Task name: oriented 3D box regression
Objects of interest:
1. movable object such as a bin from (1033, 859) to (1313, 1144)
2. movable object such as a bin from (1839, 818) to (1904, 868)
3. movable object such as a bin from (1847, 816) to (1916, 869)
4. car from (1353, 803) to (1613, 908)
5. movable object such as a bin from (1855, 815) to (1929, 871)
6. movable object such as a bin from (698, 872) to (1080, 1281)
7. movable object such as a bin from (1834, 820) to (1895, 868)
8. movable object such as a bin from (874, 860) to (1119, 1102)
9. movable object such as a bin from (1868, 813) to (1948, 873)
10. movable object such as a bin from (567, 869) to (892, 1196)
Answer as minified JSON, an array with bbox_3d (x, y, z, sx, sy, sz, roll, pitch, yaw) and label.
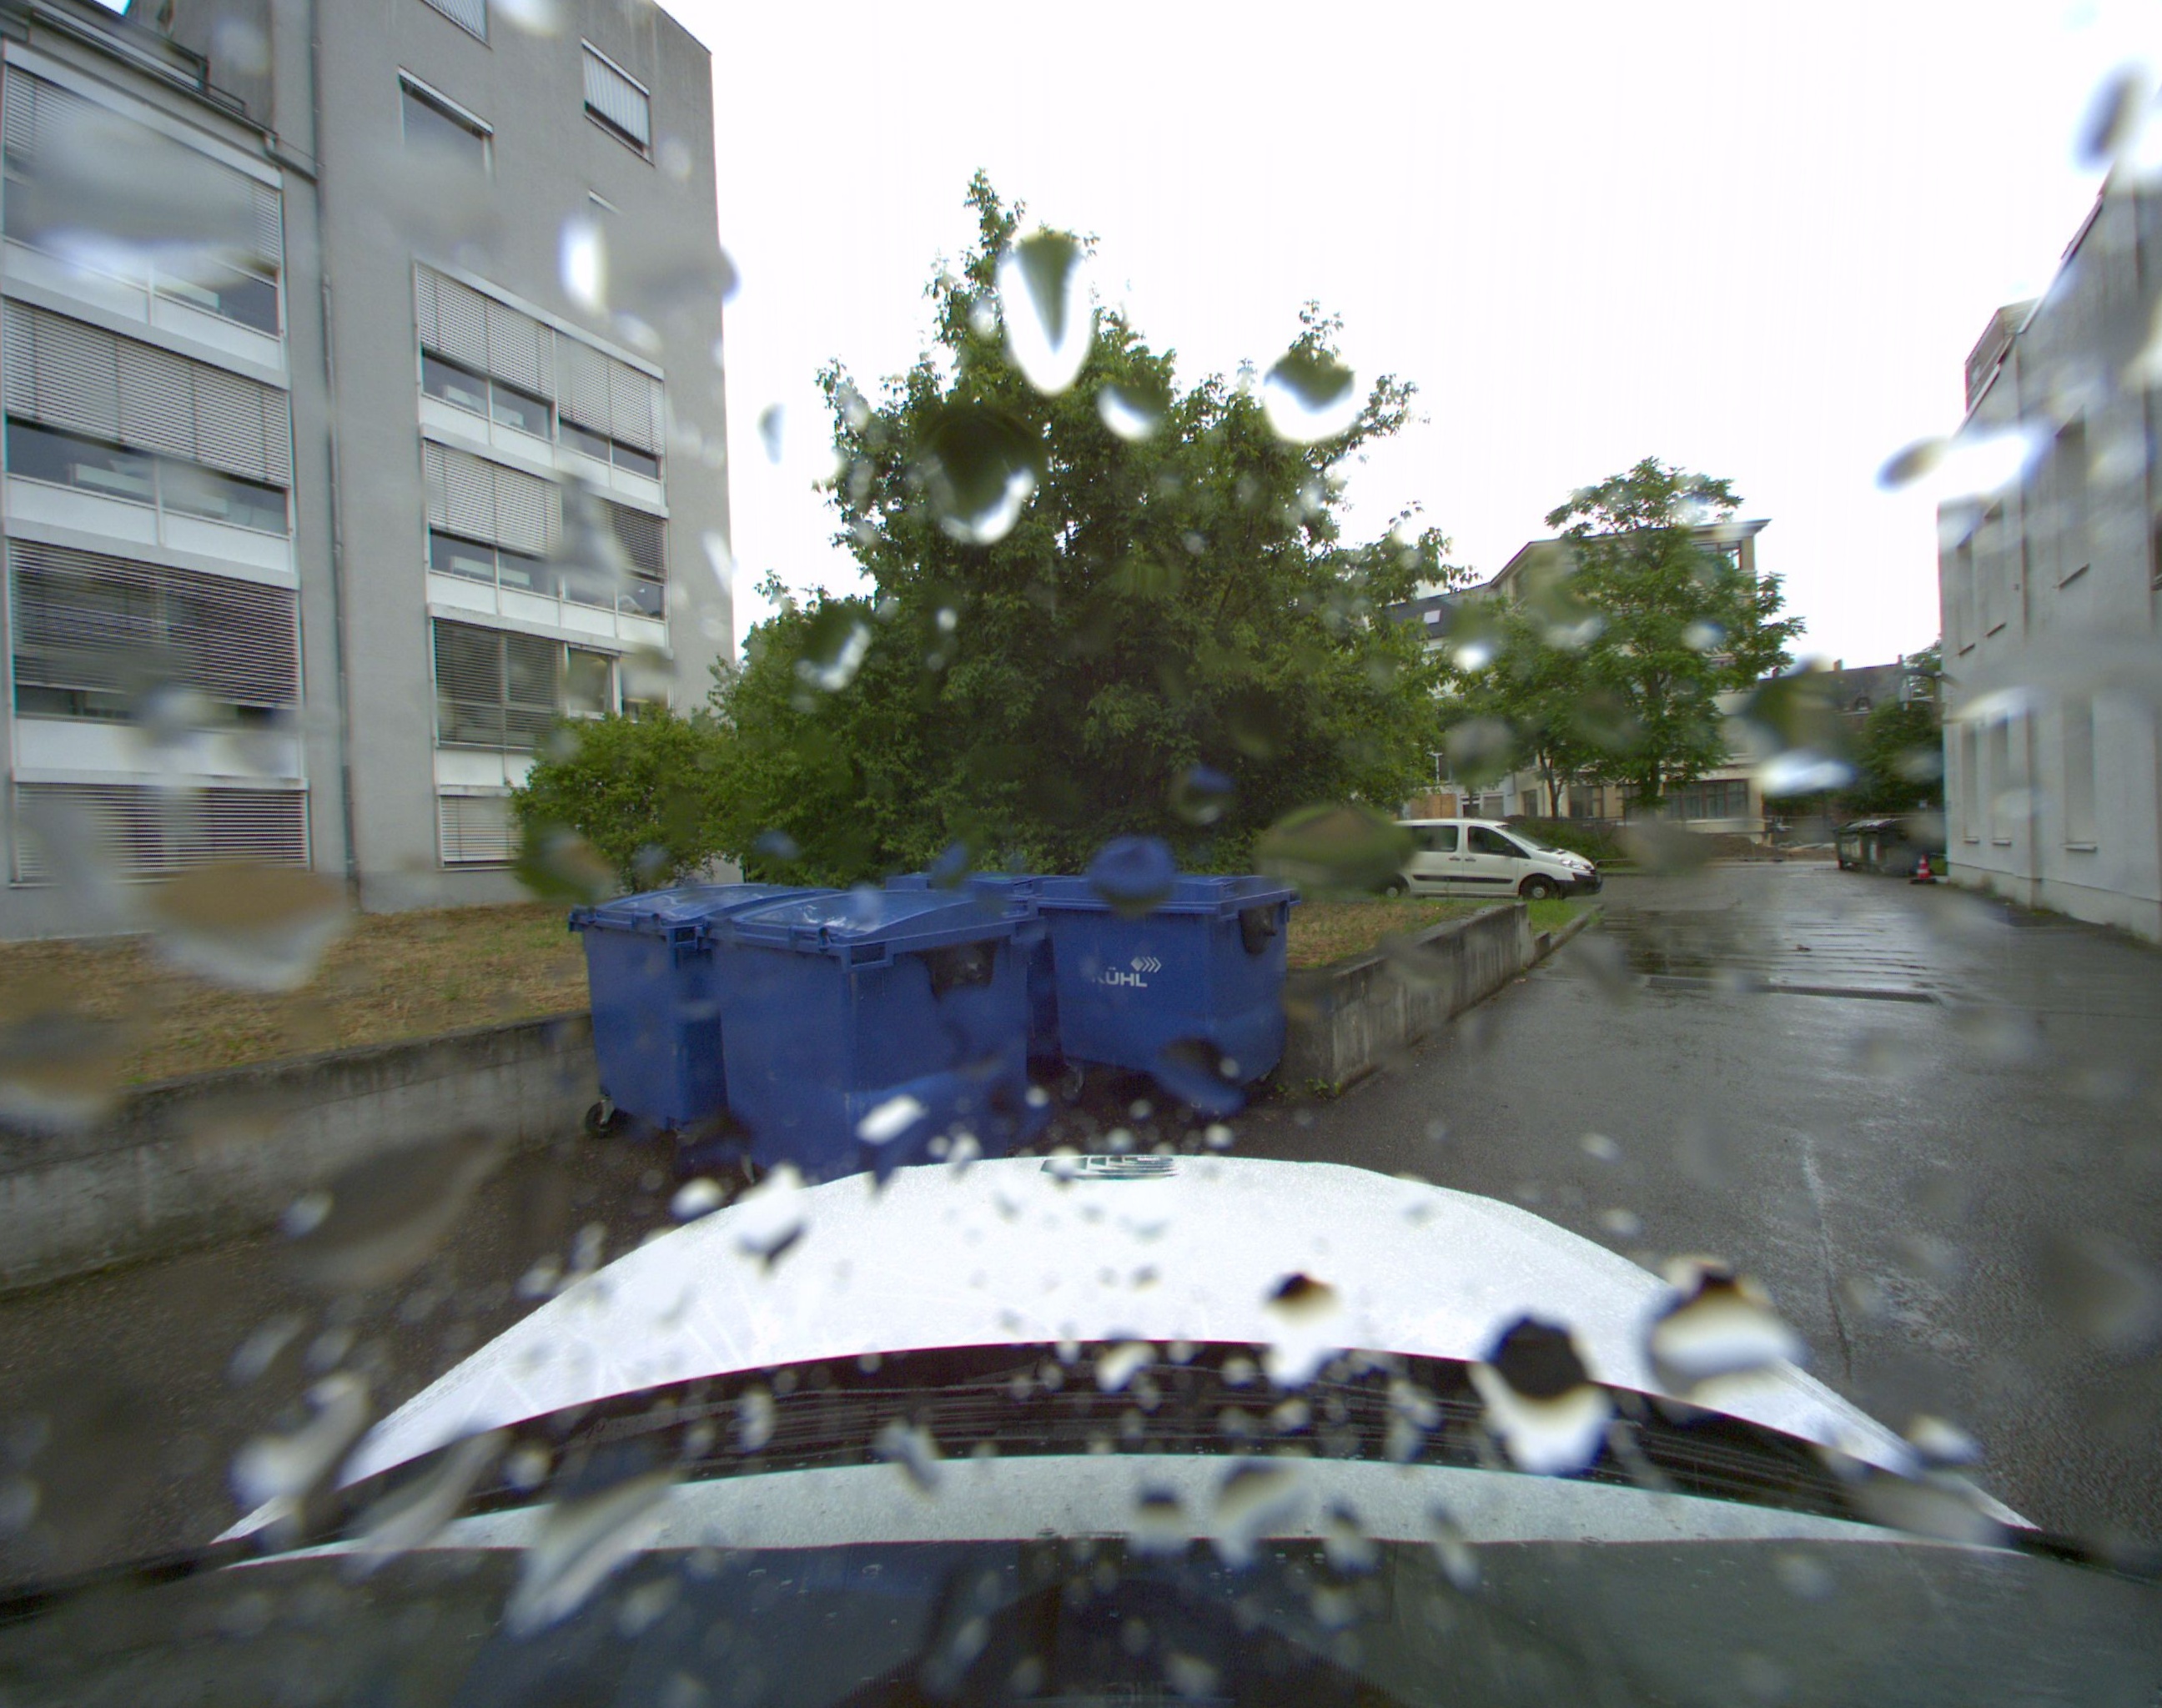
[{"bbox_3d":[0.534,0.726,4.709,1.209,1.337,1.013,-2,1,39],"label":"movable object such as a bin"},{"bbox_3d":[23.475,-0.311,24.214,1.203,1.437,1.267,-1,-1,37],"label":"movable object such as a bin"},{"bbox_3d":[22.663,-0.302,23.090,1.203,1.468,1.243,-1,-1,37],"label":"movable object such as a bin"},{"bbox_3d":[8.749,0.073,17.960,4.734,2.013,2.013,-3,0,40],"label":"car"},{"bbox_3d":[21.659,-0.262,21.792,1.203,1.437,1.302,-1,-1,37],"label":"movable object such as a bin"},{"bbox_3d":[-0.841,0.774,3.573,1.191,1.337,1.123,-2,0,43],"label":"movable object such as a bin"},{"bbox_3d":[24.319,-0.298,25.316,1.203,1.437,1.267,-1,-1,37],"label":"movable object such as a bin"},{"bbox_3d":[-0.562,0.745,5.443,1.209,1.337,1.013,-2,2,39],"label":"movable object such as a bin"},{"bbox_3d":[20.677,-0.240,20.394,1.203,1.437,1.243,-1,-1,37],"label":"movable object such as a bin"},{"bbox_3d":[-1.873,0.804,4.380,1.191,1.336,1.124,1,4,39],"label":"movable object such as a bin"}]
